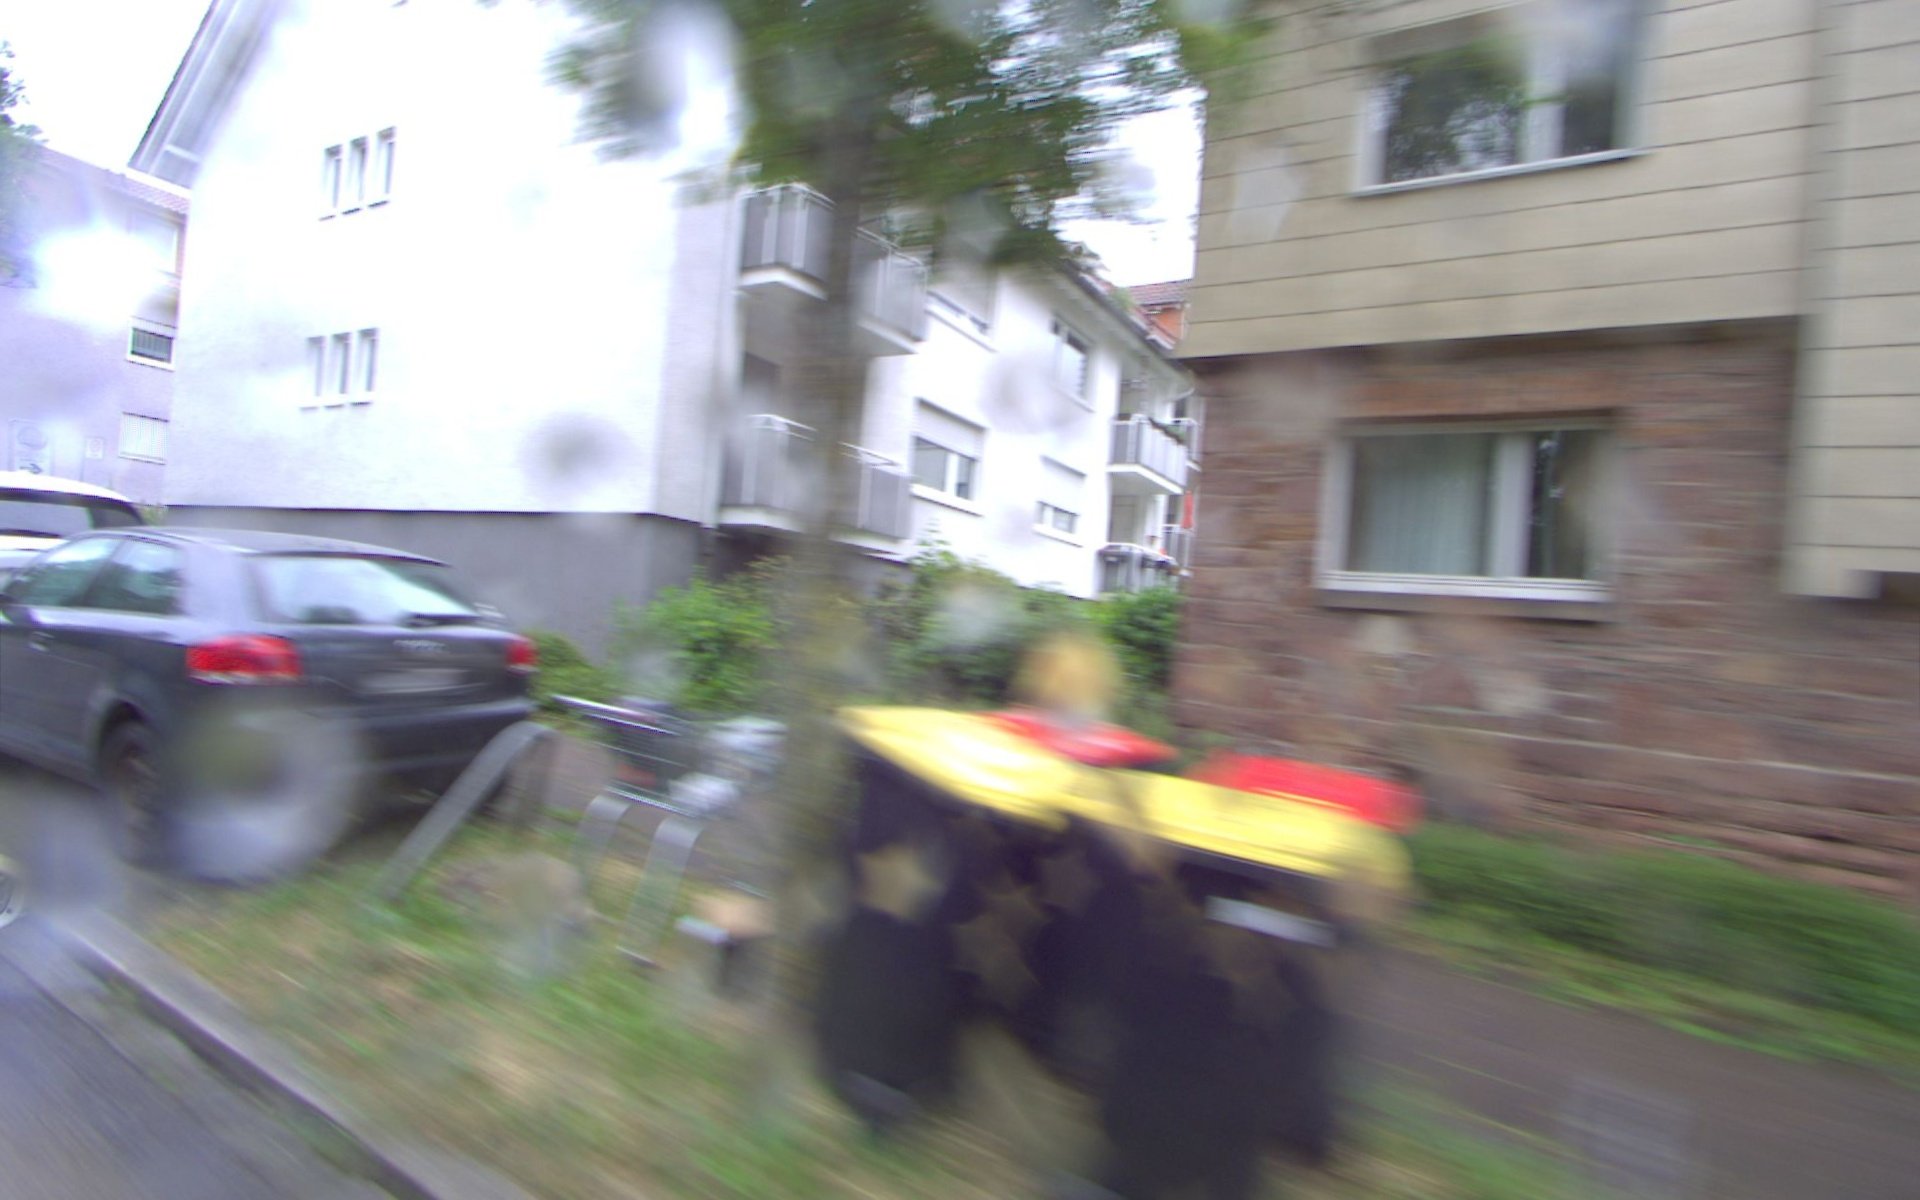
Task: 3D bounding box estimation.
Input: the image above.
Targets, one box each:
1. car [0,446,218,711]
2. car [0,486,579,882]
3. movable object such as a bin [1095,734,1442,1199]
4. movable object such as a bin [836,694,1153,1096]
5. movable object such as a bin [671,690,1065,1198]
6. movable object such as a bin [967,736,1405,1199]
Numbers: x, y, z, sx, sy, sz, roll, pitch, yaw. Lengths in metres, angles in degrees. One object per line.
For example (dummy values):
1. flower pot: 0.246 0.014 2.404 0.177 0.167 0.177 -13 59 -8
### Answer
1. car: -8.218 -0.318 8.295 4.467 1.794 1.825 6 0 33
2. car: -4.162 0.248 5.564 3.931 1.466 1.644 6 -1 30
3. movable object such as a bin: 0.952 1.027 3.072 0.808 1.064 0.619 7 3 29
4. movable object such as a bin: 0.126 0.923 3.450 0.808 1.064 0.619 7 3 29
5. movable object such as a bin: -0.247 0.850 2.815 0.808 1.064 0.619 7 3 29
6. movable object such as a bin: 0.563 0.952 2.456 0.808 1.064 0.619 7 3 29
